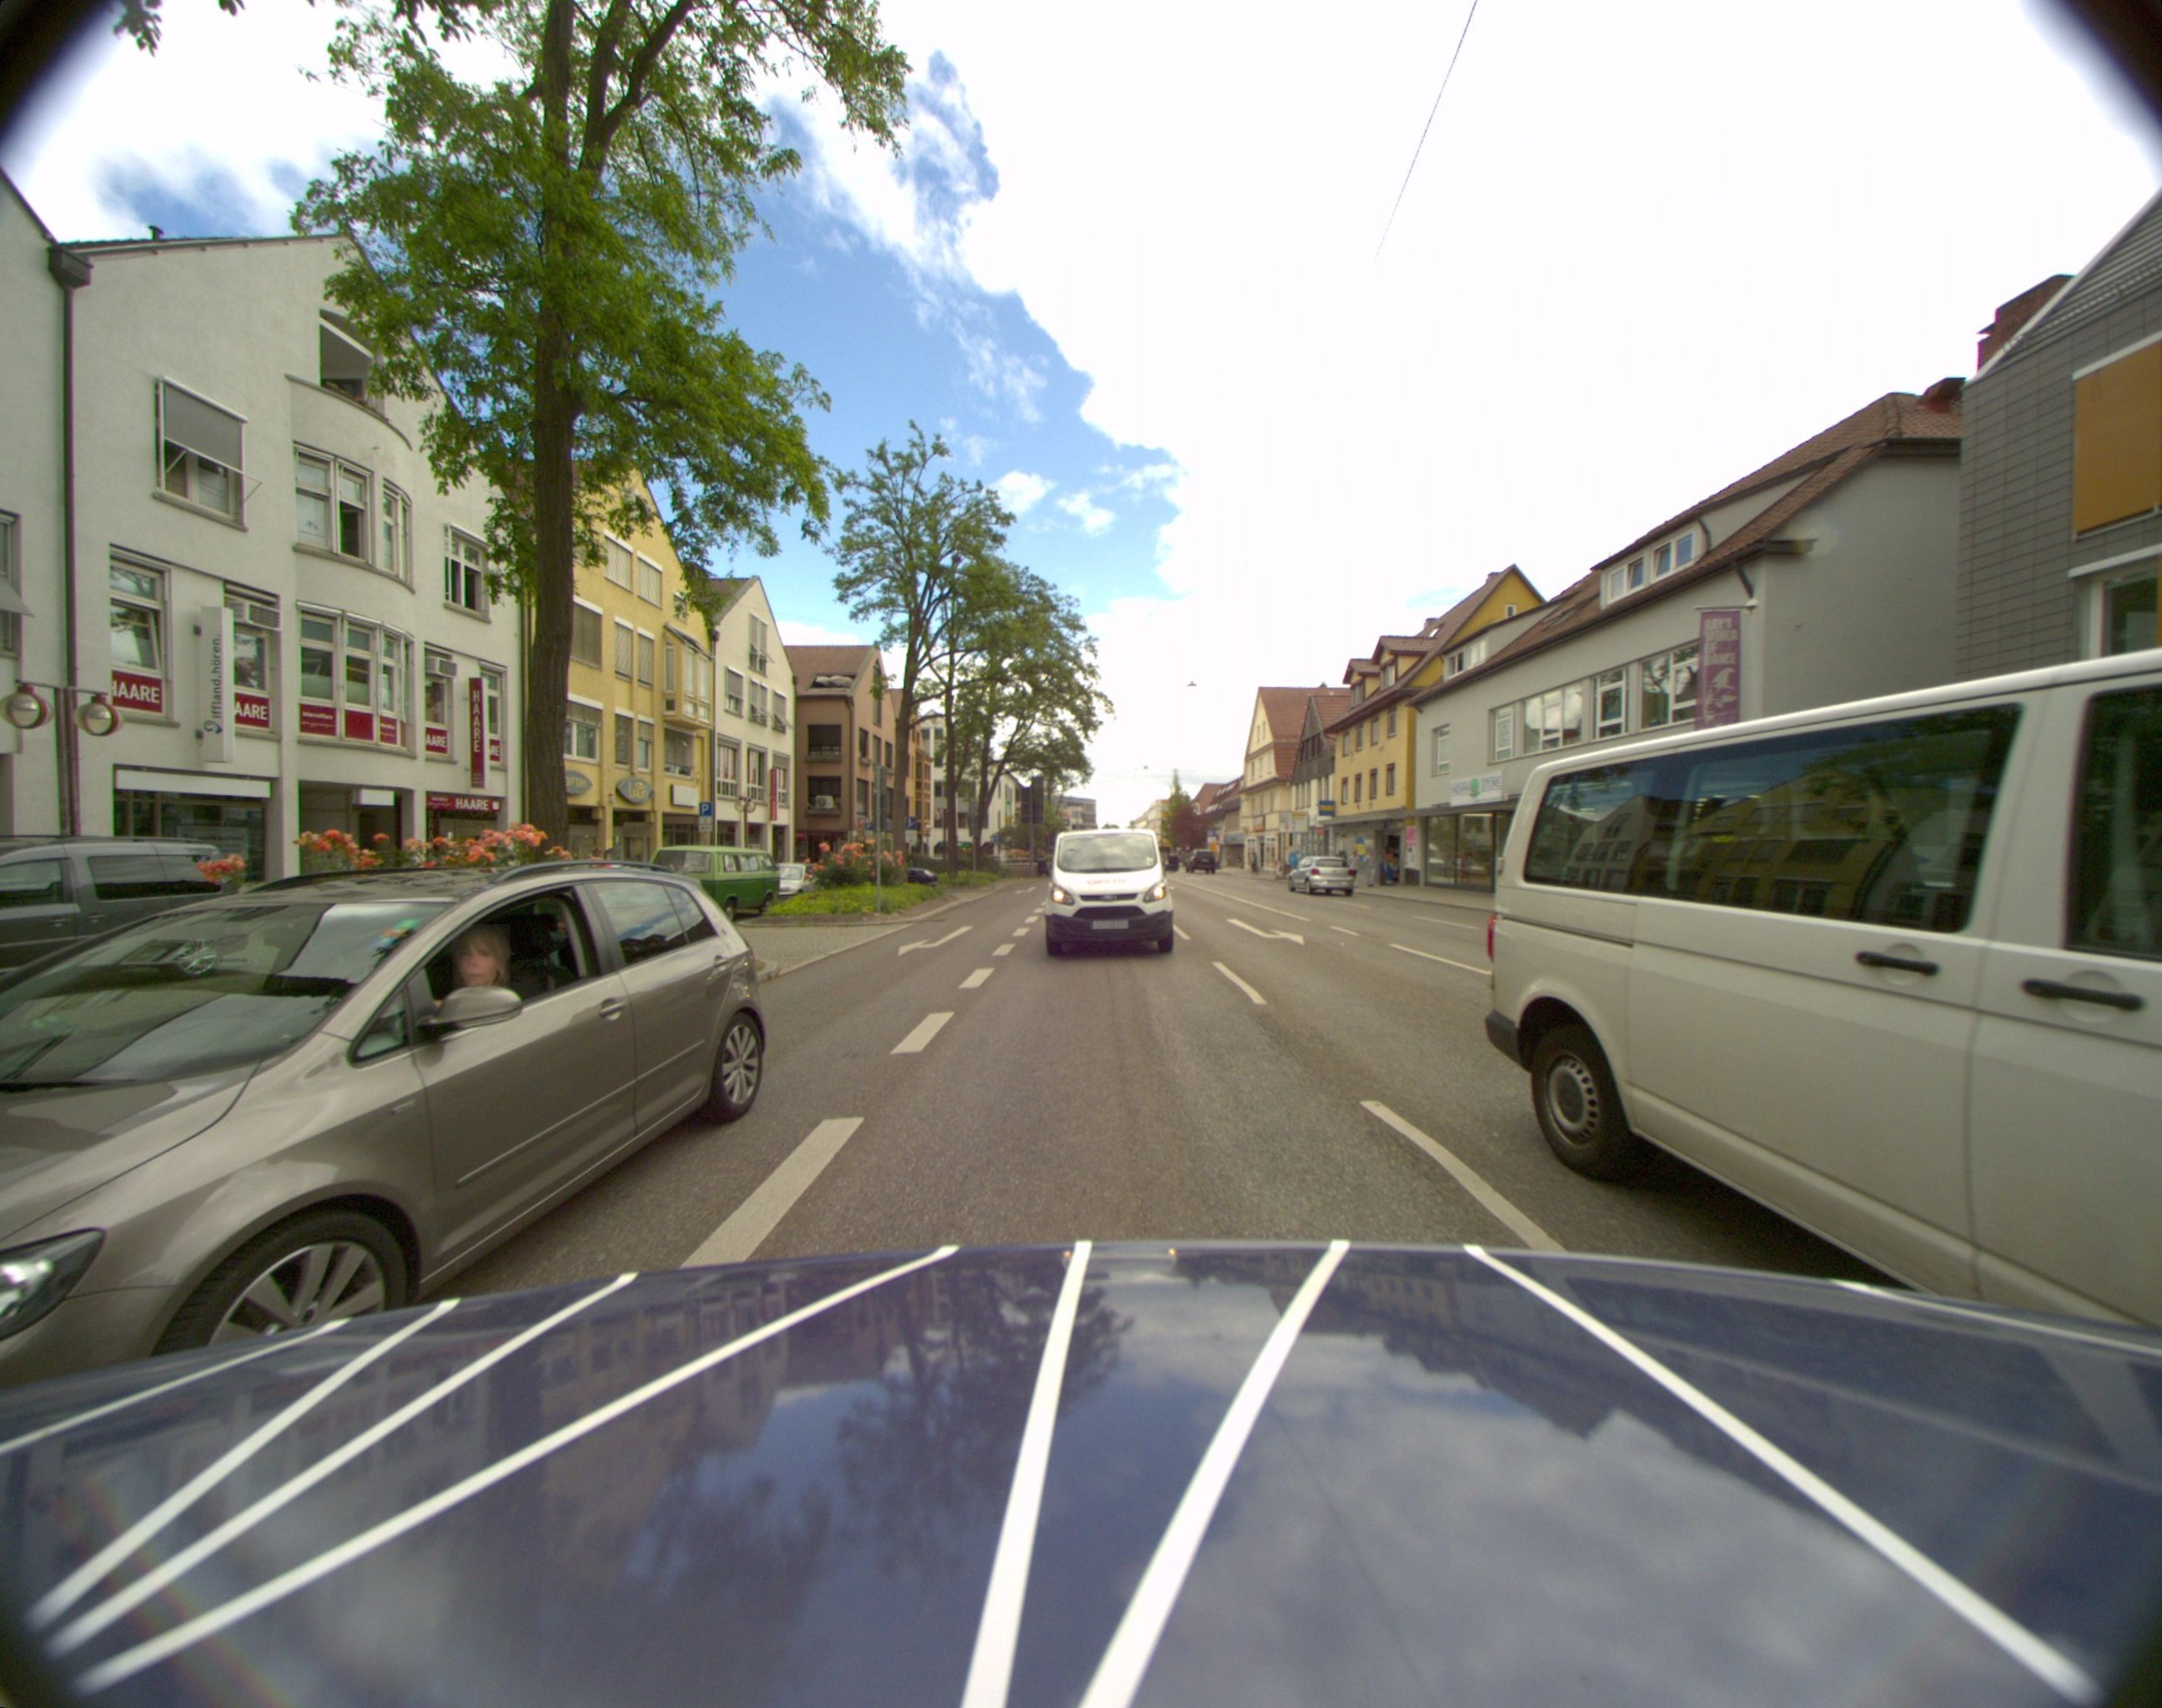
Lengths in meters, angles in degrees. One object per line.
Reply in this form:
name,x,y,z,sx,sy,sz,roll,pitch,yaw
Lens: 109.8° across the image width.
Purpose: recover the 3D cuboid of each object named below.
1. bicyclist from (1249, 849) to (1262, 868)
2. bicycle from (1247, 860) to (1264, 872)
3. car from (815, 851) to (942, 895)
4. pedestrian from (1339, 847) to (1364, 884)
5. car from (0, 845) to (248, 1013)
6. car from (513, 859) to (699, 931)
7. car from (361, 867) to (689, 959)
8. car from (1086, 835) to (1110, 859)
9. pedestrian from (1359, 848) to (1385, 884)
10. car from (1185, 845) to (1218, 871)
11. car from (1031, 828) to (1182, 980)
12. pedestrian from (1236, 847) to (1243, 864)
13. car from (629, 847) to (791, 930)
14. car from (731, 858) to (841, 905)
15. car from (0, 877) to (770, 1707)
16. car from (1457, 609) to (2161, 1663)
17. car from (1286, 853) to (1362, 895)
bicyclist,12.952,0.323,56.450,0.773,1.415,0.752,0,1,1
bicycle,12.943,0.859,56.456,0.773,0.818,2.240,0,0,1
car,-8.178,0.773,31.031,4.753,1.669,1.999,1,0,-7
pedestrian,12.098,0.504,33.987,0.812,1.651,0.920,0,1,2
car,-12.524,0.809,8.505,1.739,1.793,4.260,1,0,-1
car,-12.144,0.970,19.907,1.999,1.539,4.752,1,1,-2
car,-9.853,1.013,13.704,4.649,1.445,1.740,1,1,1
car,1.513,-0.586,65.804,1.940,1.968,5.780,-2,0,1
pedestrian,12.994,0.521,33.974,0.812,1.574,0.920,0,1,2
car,9.767,0.312,61.821,1.928,1.957,4.769,1,0,1
car,0.411,0.649,13.010,1.940,1.968,5.780,-2,0,1
pedestrian,17.814,0.187,85.438,0.673,1.891,0.678,0,1,1
car,-9.516,0.794,20.026,1.999,1.865,4.752,1,1,-1
car,-9.671,0.840,25.356,1.843,1.302,4.752,1,1,-1
car,-2.968,0.944,2.891,1.801,1.521,4.000,-2,0,1
car,3.044,0.515,1.776,1.998,2.002,4.840,-2,0,1
car,9.281,0.721,29.362,1.763,1.440,4.035,0,1,2
